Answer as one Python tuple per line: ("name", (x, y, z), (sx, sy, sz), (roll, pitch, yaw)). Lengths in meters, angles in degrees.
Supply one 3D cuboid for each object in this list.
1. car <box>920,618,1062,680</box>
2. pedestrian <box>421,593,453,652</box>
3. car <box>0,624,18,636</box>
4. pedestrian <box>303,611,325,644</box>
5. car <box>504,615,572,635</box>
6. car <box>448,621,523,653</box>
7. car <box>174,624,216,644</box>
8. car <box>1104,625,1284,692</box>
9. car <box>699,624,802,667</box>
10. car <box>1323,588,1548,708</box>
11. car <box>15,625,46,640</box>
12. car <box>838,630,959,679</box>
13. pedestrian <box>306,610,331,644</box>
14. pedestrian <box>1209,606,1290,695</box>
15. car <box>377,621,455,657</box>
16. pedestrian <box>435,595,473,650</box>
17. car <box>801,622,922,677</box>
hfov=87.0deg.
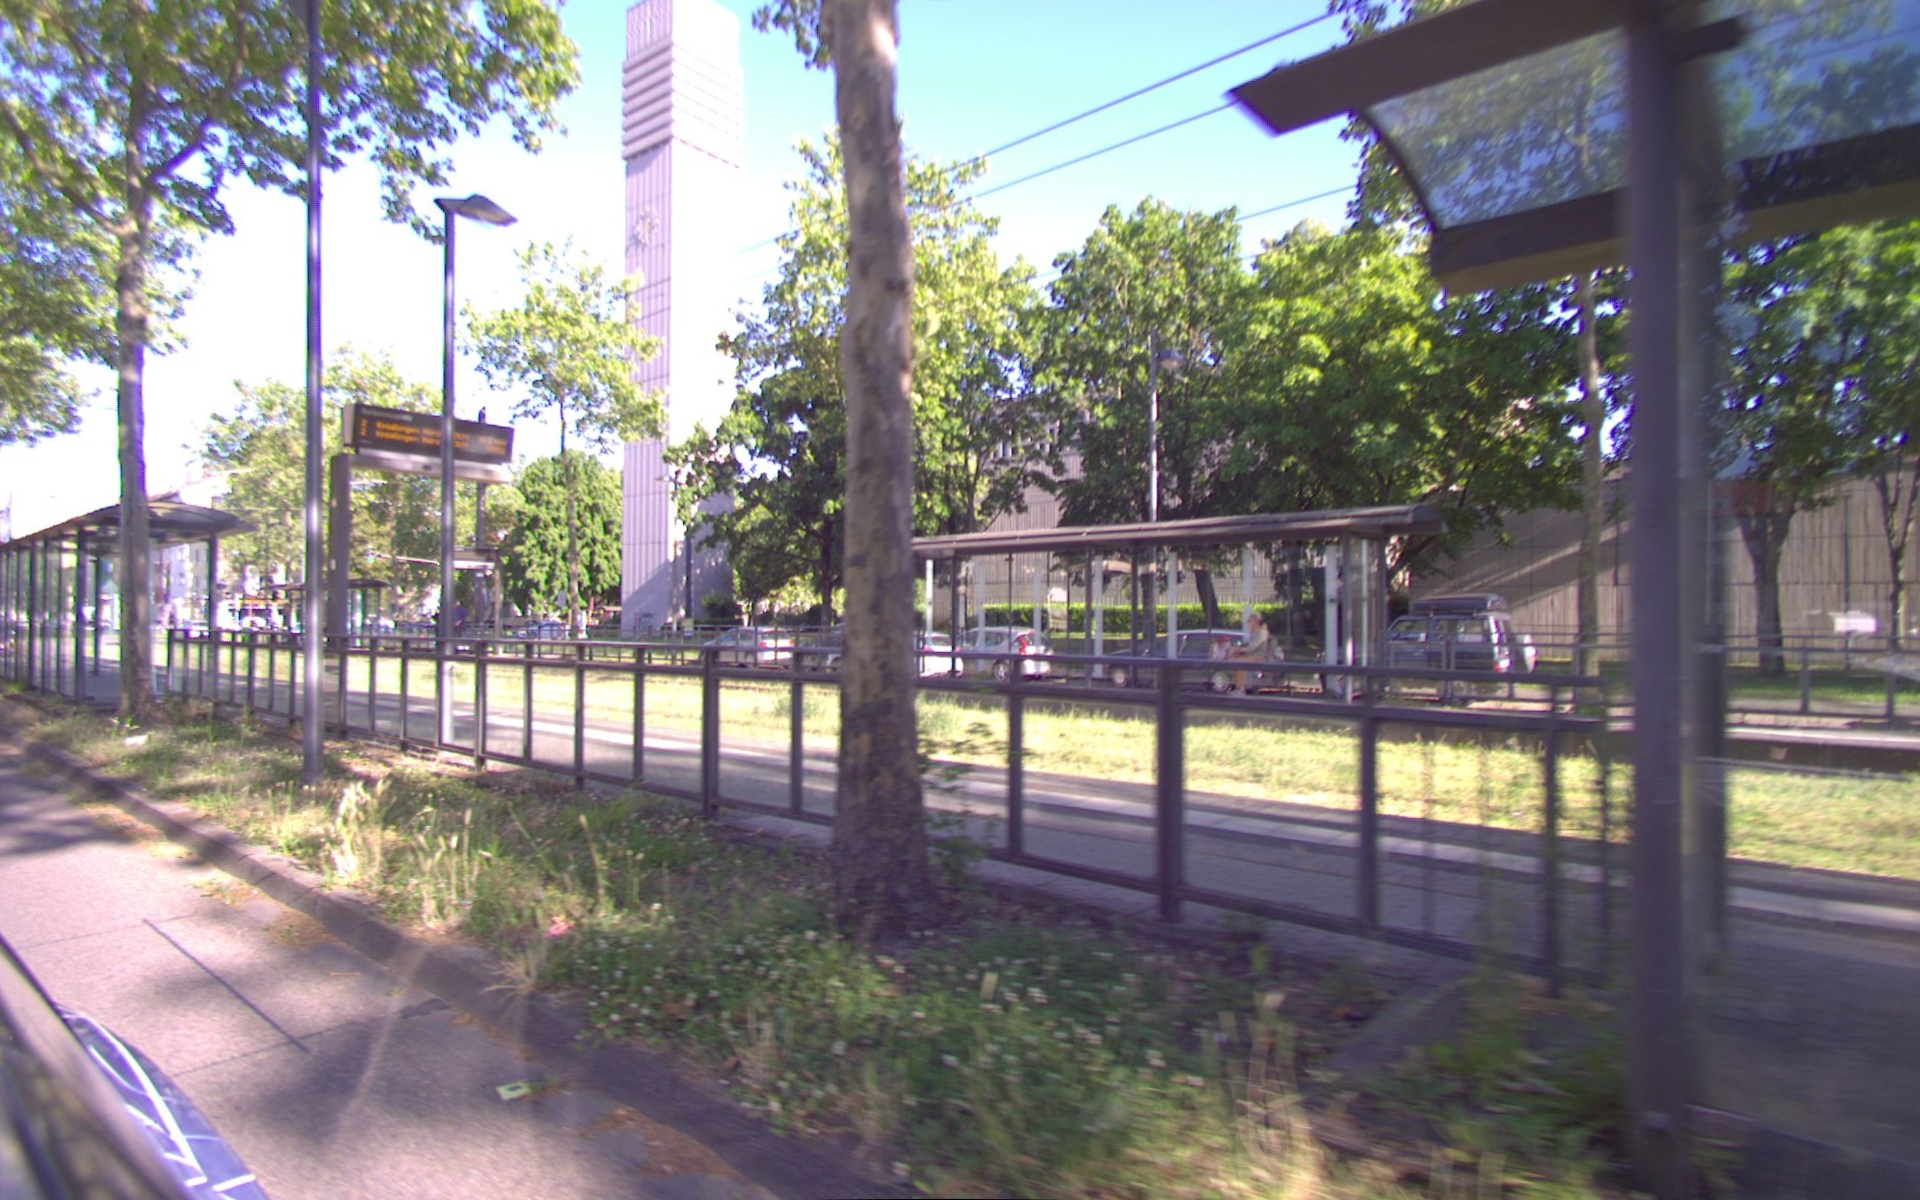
("car", (0.838, 1.358, 28.727), (3.927, 1.648, 1.577), (-1, -2, 40))
("pedestrian", (-16.733, 0.713, 32.382), (0.636, 1.881, 0.712), (-1, -1, 41))
("car", (-135.999, 4.289, 144.060), (5.399, 1.720, 2.117), (-1, -2, 41))
("pedestrian", (-26.561, 1.117, 41.602), (0.722, 1.352, 0.775), (1, -2, -35))
("car", (-32.904, 1.970, 78.994), (1.999, 1.498, 4.468), (-1, -2, 40))
("car", (-21.102, 1.612, 44.947), (3.998, 1.364, 1.534), (-1, -2, 42))
("car", (-52.327, 2.312, 69.215), (3.409, 1.335, 1.313), (-1, -2, 35))
("car", (5.643, 1.362, 24.668), (4.016, 1.500, 1.578), (-1, -2, 40))
("car", (-7.525, 1.603, 36.127), (3.928, 1.455, 1.577), (-1, -2, 42))
("car", (9.857, 0.965, 21.125), (3.930, 2.279, 1.696), (-1, -2, 40))
("car", (-111.428, 3.877, 121.340), (5.443, 1.720, 2.117), (-1, -2, 41))
("car", (-1.708, 1.436, 27.525), (3.373, 1.251, 1.250), (-1, -2, 40))
("pedestrian", (-25.940, 1.104, 40.921), (0.734, 1.352, 0.686), (-1, -2, 42))
("pedestrian", (4.280, 0.724, 14.982), (0.825, 1.270, 0.802), (0, -1, -21))
("car", (-22.309, 1.574, 41.466), (3.533, 1.438, 1.589), (-1, -2, 39))
("pedestrian", (-16.028, 0.702, 32.047), (0.754, 1.702, 0.874), (-1, -1, 41))
("car", (-3.150, 1.520, 31.982), (3.928, 1.645, 1.577), (-1, -2, 42))
